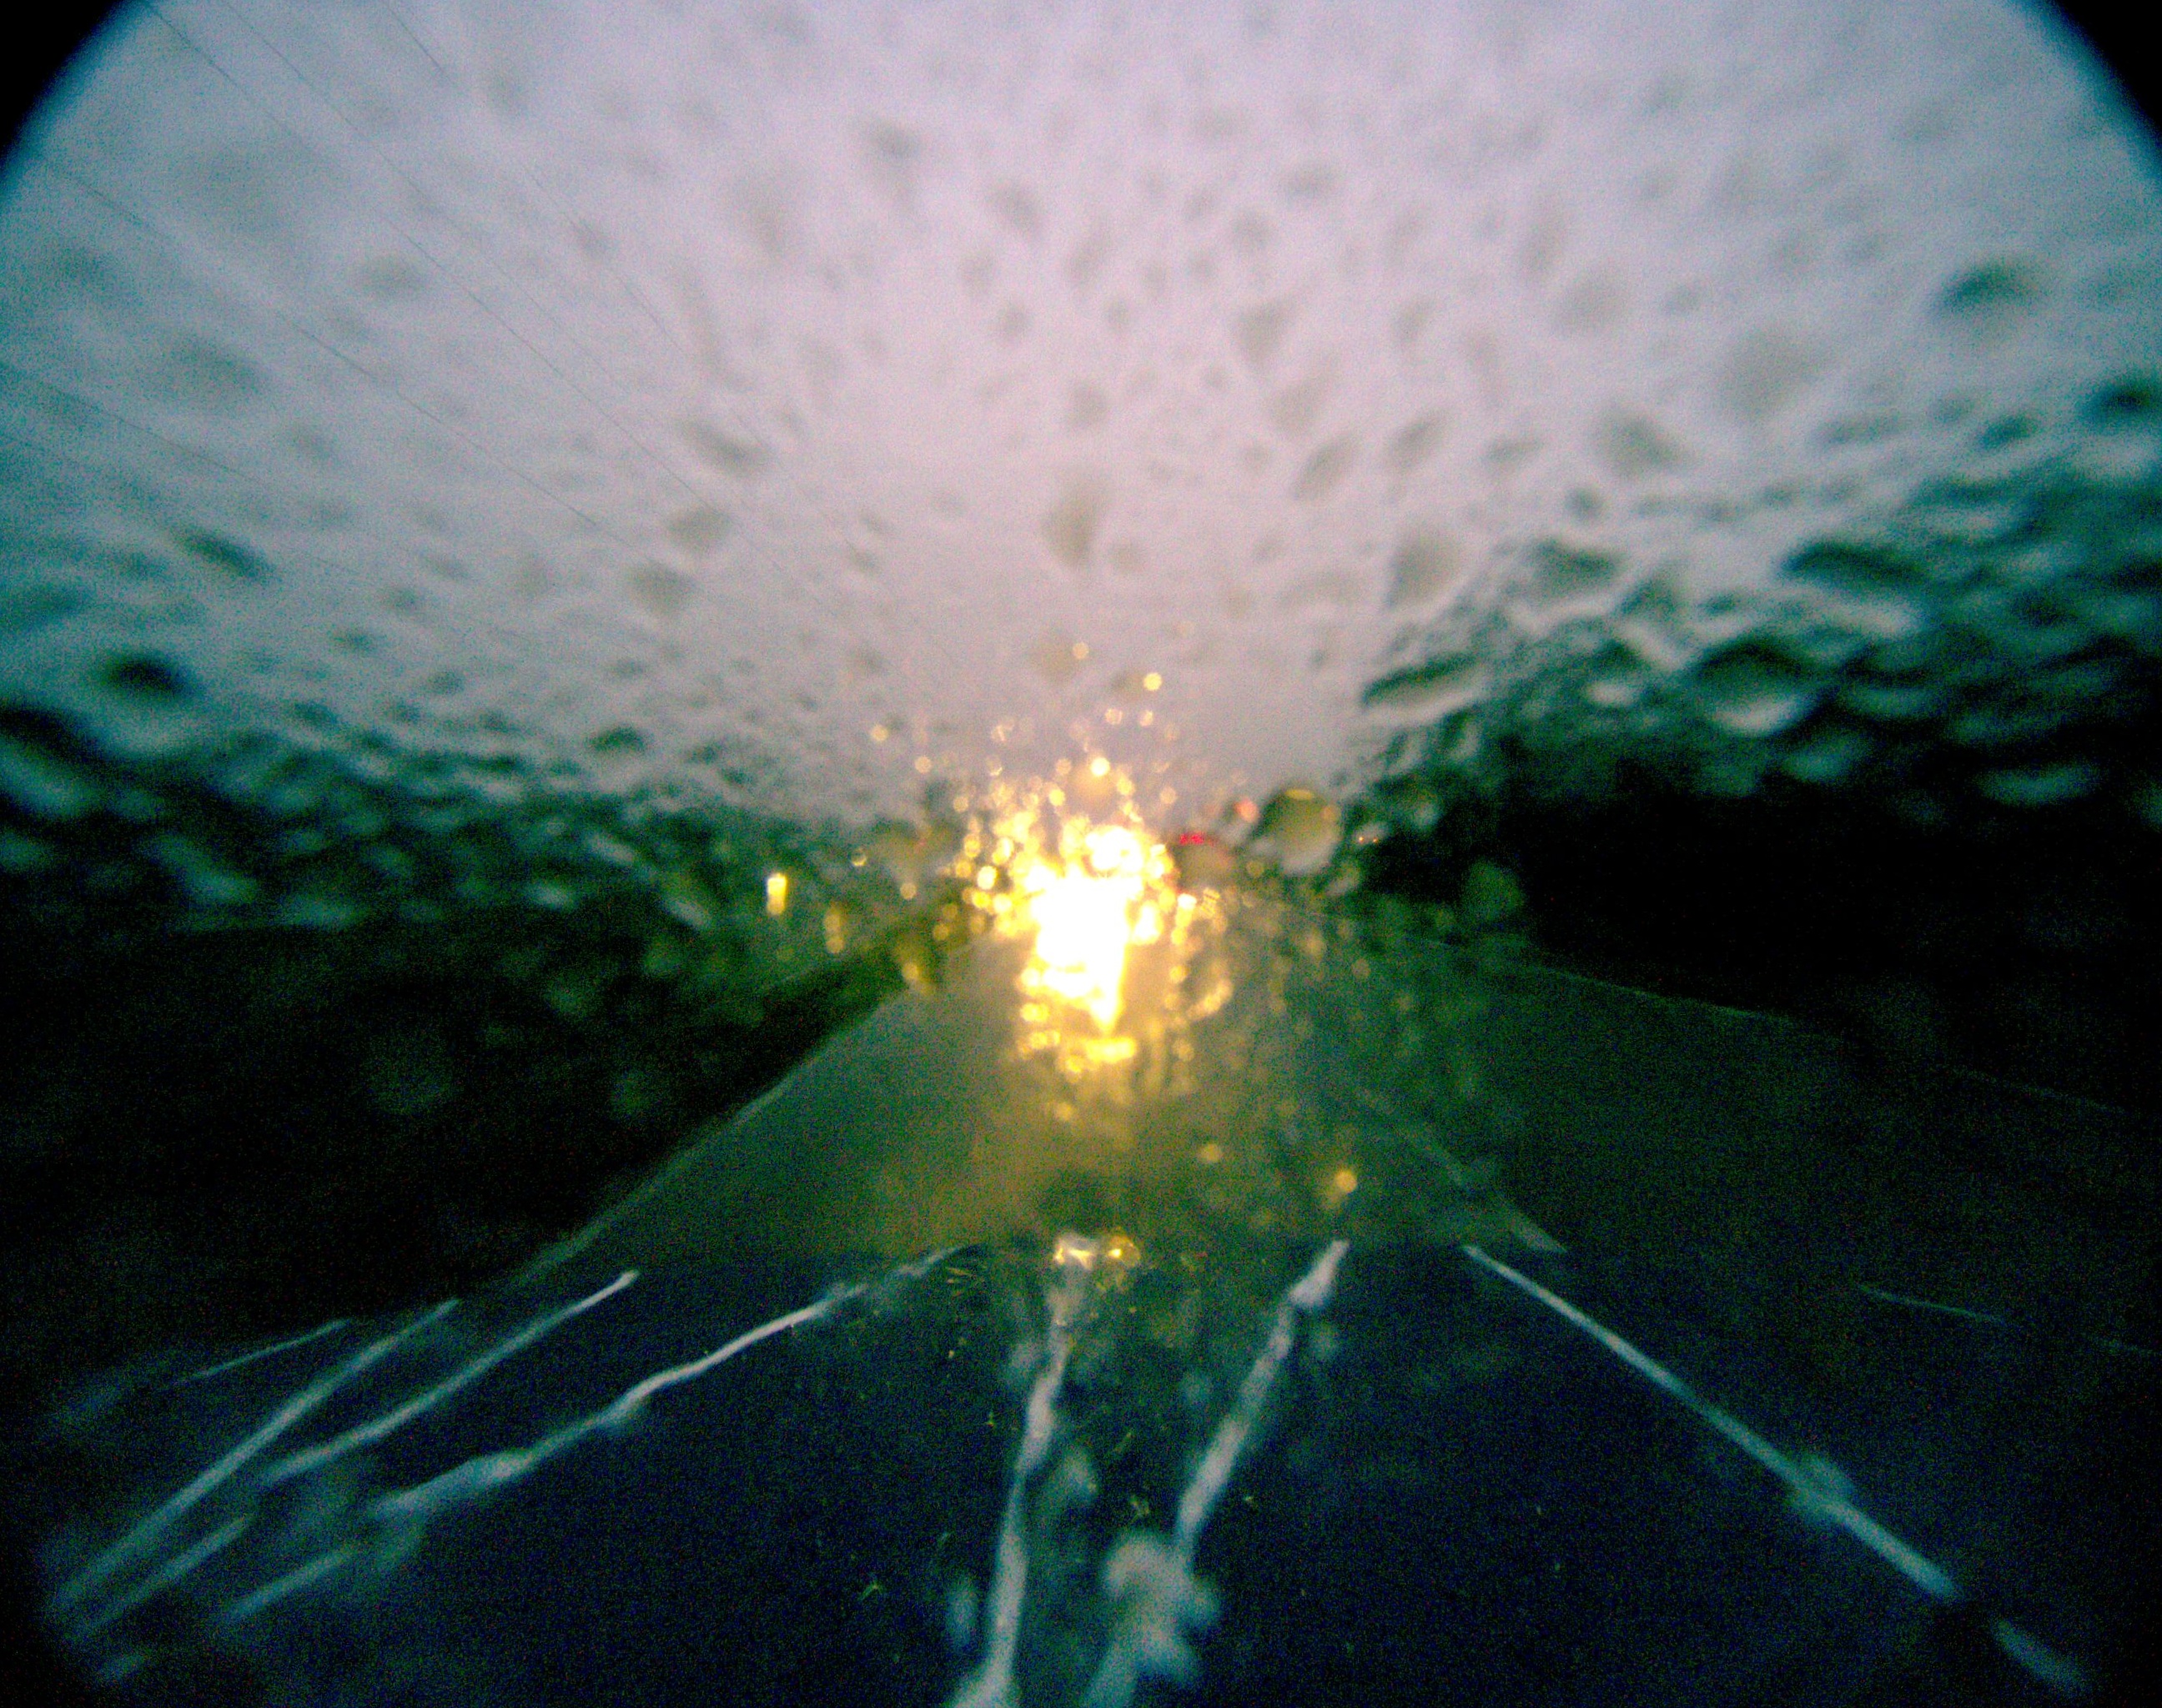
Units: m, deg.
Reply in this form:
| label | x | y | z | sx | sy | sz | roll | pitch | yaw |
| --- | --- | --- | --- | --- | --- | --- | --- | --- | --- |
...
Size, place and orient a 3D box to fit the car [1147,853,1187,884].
| label | x | y | z | sx | sy | sz | roll | pitch | yaw |
| --- | --- | --- | --- | --- | --- | --- | --- | --- | --- |
| car | 4.565 | 0.743 | 40.737 | 1.692 | 1.498 | 4.413 | -2 | 0 | 1 |

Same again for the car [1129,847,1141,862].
| label | x | y | z | sx | sy | sz | roll | pitch | yaw |
| --- | --- | --- | --- | --- | --- | --- | --- | --- | --- |
| car | 10.244 | 0.157 | 143.735 | 1.957 | 2.659 | 6.272 | -2 | 0 | 2 |

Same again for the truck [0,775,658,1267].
| label | x | y | z | sx | sy | sz | roll | pitch | yaw |
| --- | --- | --- | --- | --- | --- | --- | --- | --- | --- |
| truck | -6.908 | 0.900 | 4.775 | 2.510 | 2.556 | 10.803 | -2 | 0 | -1 |

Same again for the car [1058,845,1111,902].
| label | x | y | z | sx | sy | sz | roll | pitch | yaw |
| --- | --- | --- | --- | --- | --- | --- | --- | --- | --- |
| car | 0.179 | 0.676 | 29.417 | 1.857 | 2.002 | 4.000 | -2 | 1 | 1 |
